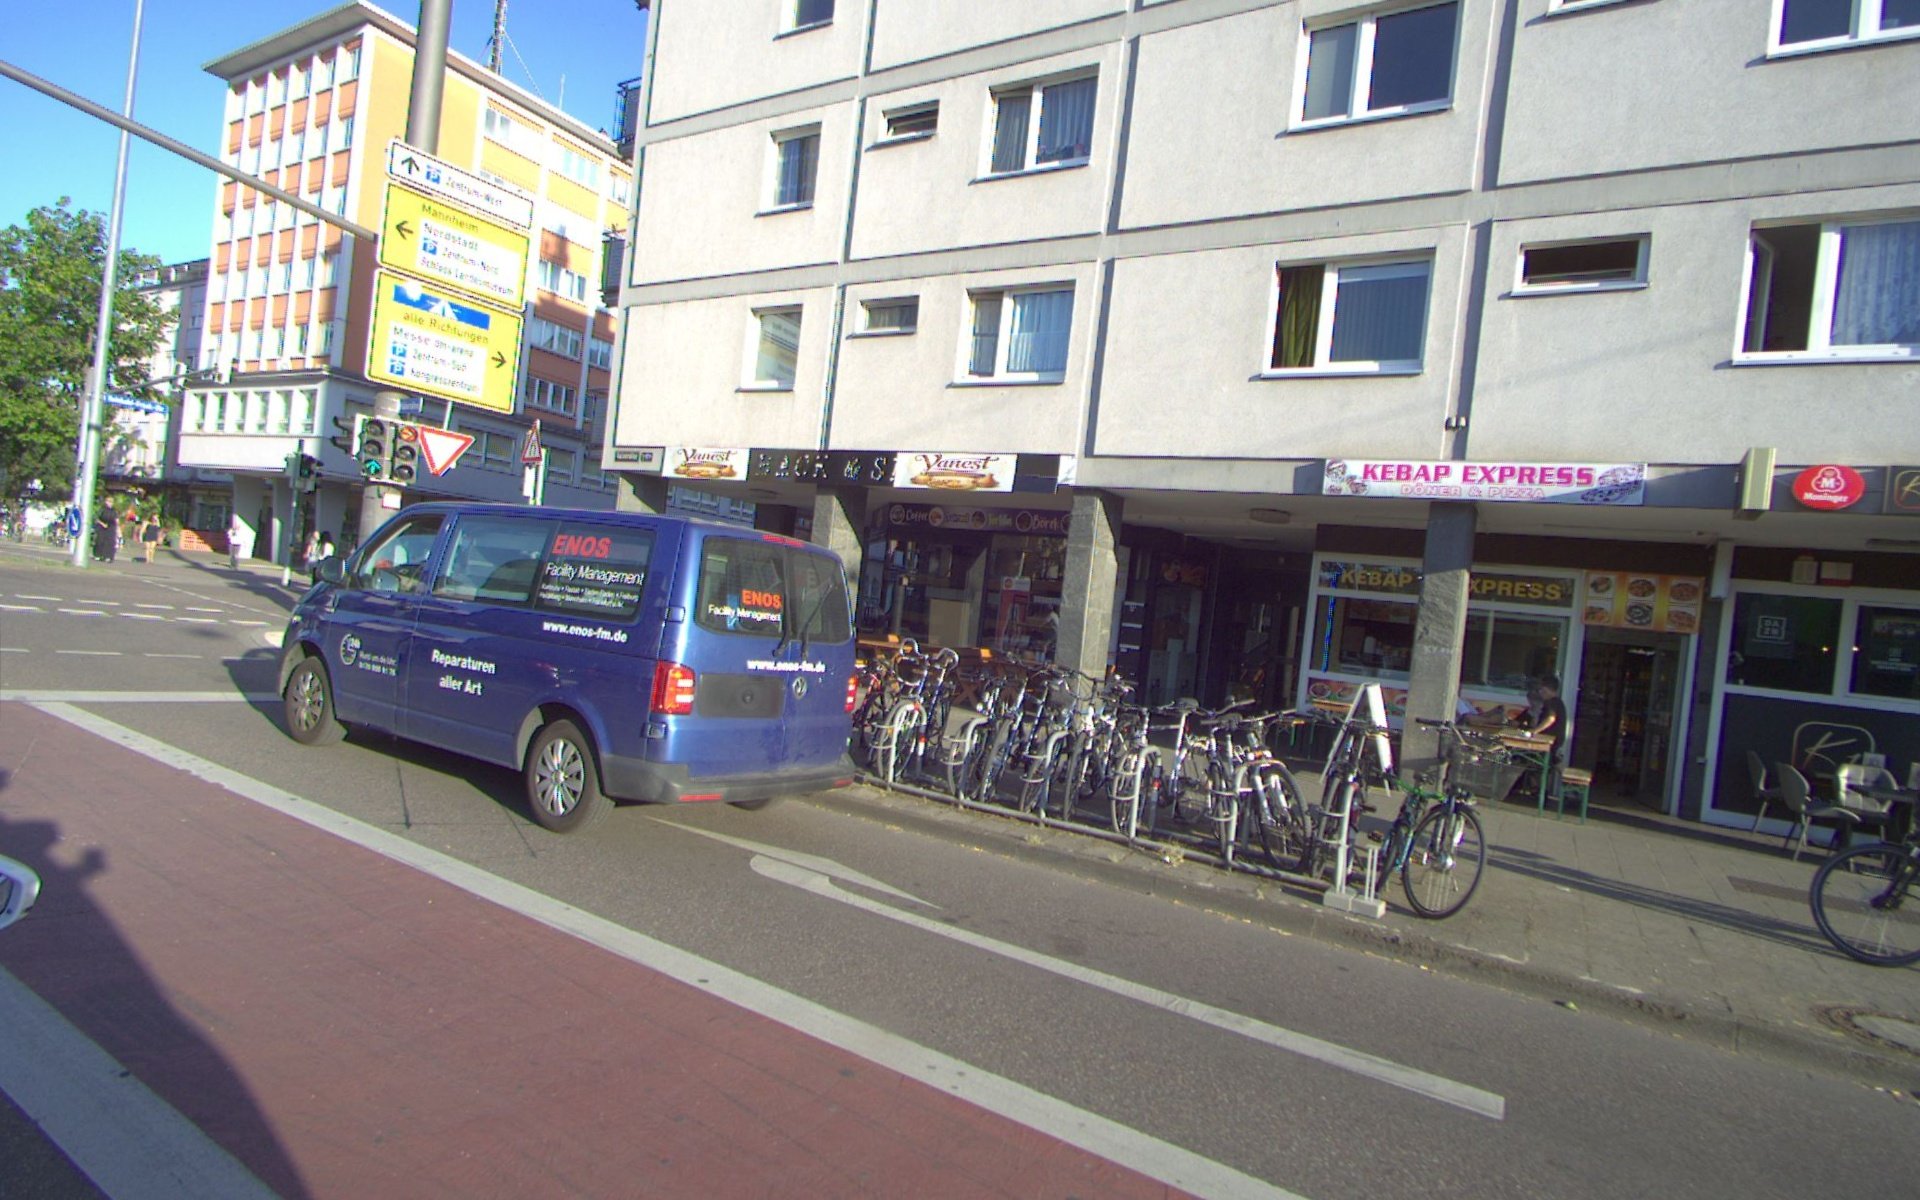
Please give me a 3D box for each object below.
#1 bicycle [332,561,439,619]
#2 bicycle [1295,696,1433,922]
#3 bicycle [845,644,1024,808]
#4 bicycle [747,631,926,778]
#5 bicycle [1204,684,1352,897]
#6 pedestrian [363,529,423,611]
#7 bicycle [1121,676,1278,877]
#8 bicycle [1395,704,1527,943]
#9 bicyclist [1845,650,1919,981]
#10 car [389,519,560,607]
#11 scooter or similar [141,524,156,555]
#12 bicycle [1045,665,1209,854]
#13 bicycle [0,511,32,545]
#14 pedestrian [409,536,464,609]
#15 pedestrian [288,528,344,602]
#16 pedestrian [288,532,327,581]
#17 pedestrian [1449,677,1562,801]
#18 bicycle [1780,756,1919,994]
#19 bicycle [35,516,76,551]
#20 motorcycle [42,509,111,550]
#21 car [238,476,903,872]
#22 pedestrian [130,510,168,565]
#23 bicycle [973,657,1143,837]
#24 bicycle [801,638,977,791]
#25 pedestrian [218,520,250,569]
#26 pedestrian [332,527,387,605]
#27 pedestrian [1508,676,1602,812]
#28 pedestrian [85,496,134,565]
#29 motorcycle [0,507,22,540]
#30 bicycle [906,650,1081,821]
[{"bbox_3d":[-12.032,-0.200,21.092,1.816,0.993,0.522,7,0,-4],"label":"bicycle"},{"bbox_3d":[2.780,1.310,6.814,0.558,1.141,1.869,7,2,28],"label":"bicycle"},{"bbox_3d":[-0.158,0.984,8.450,0.558,1.141,1.869,7,2,28],"label":"bicycle"},{"bbox_3d":[-1.066,0.885,9.156,0.558,1.141,1.869,7,2,28],"label":"bicycle"},{"bbox_3d":[2.288,1.243,7.085,0.558,1.141,1.869,7,2,28],"label":"bicycle"},{"bbox_3d":[-11.887,-0.608,21.095,0.747,1.609,0.677,5,-1,-4],"label":"pedestrian"},{"bbox_3d":[1.803,1.200,7.361,0.558,1.141,1.869,7,2,28],"label":"bicycle"},{"bbox_3d":[3.276,1.343,6.545,0.558,1.141,1.869,7,2,28],"label":"bicycle"},{"bbox_3d":[6.054,1.284,5.635,1.362,1.829,0.743,7,0,30],"label":"bicyclist"},{"bbox_3d":[-17.687,-1.290,36.942,1.894,2.512,5.257,7,-1,32],"label":"car"},{"bbox_3d":[-35.196,-2.629,43.635,0.413,1.269,1.170,6,0,-38],"label":"scooter or similar"},{"bbox_3d":[1.322,1.125,7.643,0.558,1.141,1.869,7,2,28],"label":"bicycle"},{"bbox_3d":[-36.389,-2.786,38.595,1.844,1.141,0.645,8,1,34],"label":"bicycle"},{"bbox_3d":[-12.978,-0.684,24.946,0.891,1.682,0.728,7,1,33],"label":"pedestrian"},{"bbox_3d":[-14.220,-0.770,22.203,0.734,1.518,0.682,7,1,33],"label":"pedestrian"},{"bbox_3d":[-24.894,-1.647,38.364,1.010,1.722,0.783,7,1,33],"label":"pedestrian"},{"bbox_3d":[6.357,1.612,11.732,0.848,1.289,0.644,7,0,-21],"label":"pedestrian"},{"bbox_3d":[5.934,1.639,5.673,1.838,1.193,0.567,6,3,16],"label":"bicycle"},{"bbox_3d":[-35.698,-2.634,39.708,2.090,1.172,0.645,8,1,34],"label":"bicycle"},{"bbox_3d":[-37.552,-2.999,42.779,0.749,1.423,2.042,7,0,39],"label":"motorcycle"},{"bbox_3d":[-3.002,0.311,7.379,4.752,1.957,1.939,6,0,32],"label":"car"},{"bbox_3d":[-25.875,-1.992,32.091,0.735,1.609,0.681,7,1,37],"label":"pedestrian"},{"bbox_3d":[0.825,1.073,7.910,0.558,1.141,1.869,7,2,28],"label":"bicycle"},{"bbox_3d":[-0.568,0.939,8.887,0.558,1.141,1.869,7,2,28],"label":"bicycle"},{"bbox_3d":[-26.911,-2.054,37.290,0.799,1.722,0.569,7,1,33],"label":"pedestrian"},{"bbox_3d":[-13.762,-0.777,23.059,0.734,1.682,0.682,7,1,33],"label":"pedestrian"},{"bbox_3d":[6.496,1.562,10.994,0.622,1.374,0.463,6,0,-15],"label":"pedestrian"},{"bbox_3d":[-22.900,-1.876,27.086,1.055,1.725,0.661,7,1,37],"label":"pedestrian"},{"bbox_3d":[-40.008,-3.234,42.136,2.168,1.257,0.665,6,0,39],"label":"motorcycle"},{"bbox_3d":[0.331,1.020,8.178,0.558,1.141,1.869,7,2,28],"label":"bicycle"}]
